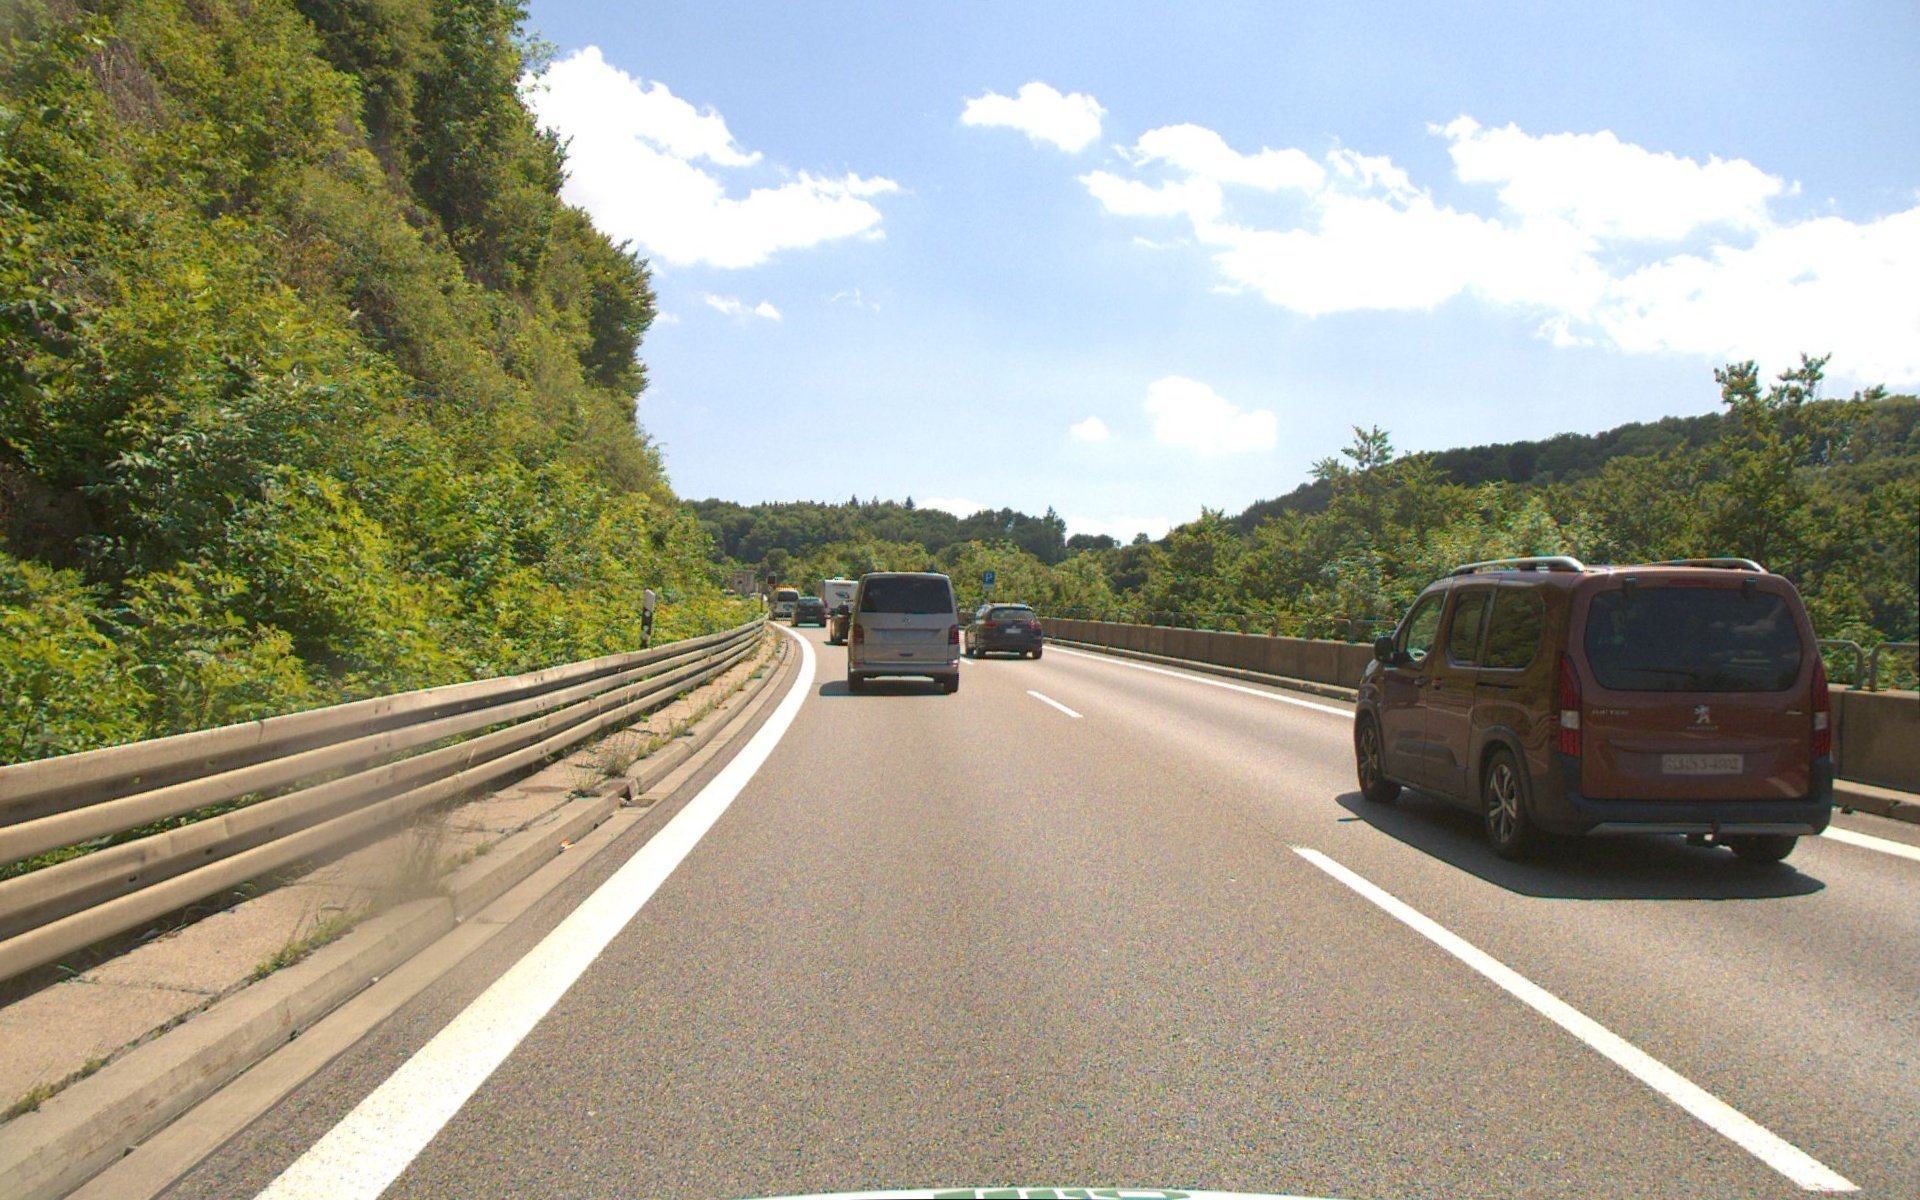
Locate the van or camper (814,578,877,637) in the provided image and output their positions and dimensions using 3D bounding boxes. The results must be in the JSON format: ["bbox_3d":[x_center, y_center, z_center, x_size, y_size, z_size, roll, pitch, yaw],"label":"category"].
[{"bbox_3d":[-7.879,0.490,112.740,3.218,3.855,8.089,1,0,-11],"label":"van or camper"}]

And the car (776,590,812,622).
[{"bbox_3d":[-9.944,0.360,99.390,1.954,1.849,3.997,1,0,-4],"label":"car"}]

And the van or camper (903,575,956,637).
[{"bbox_3d":[-1.367,0.257,72.166,2.218,2.596,4.734,0,0,-2],"label":"van or camper"}]

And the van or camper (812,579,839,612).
[{"bbox_3d":[-16.303,-0.494,200.876,3.211,3.855,8.105,0,-1,-4],"label":"van or camper"}]

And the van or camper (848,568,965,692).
[{"bbox_3d":[-1.009,0.494,28.754,1.839,1.984,4.289,0,0,-4],"label":"van or camper"}]

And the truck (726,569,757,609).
[{"bbox_3d":[-25.762,-1.245,194.907,3.232,4.598,7.711,1,0,-10],"label":"truck"}]

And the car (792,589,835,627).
[{"bbox_3d":[-7.396,0.397,83.184,1.956,1.849,3.994,1,0,-7],"label":"car"}]

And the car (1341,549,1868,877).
[{"bbox_3d":[4.149,0.659,11.583,1.796,1.815,4.674,1,-1,-1],"label":"car"}]

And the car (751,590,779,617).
[{"bbox_3d":[-14.599,0.242,124.110,1.955,1.948,3.995,1,0,-6],"label":"car"}]

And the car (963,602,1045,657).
[{"bbox_3d":[1.177,0.783,45.332,1.735,1.400,3.587,1,0,-7],"label":"car"}]

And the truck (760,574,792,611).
[{"bbox_3d":[-22.297,-0.881,200.837,3.225,4.407,7.727,0,-1,-1],"label":"truck"}]
